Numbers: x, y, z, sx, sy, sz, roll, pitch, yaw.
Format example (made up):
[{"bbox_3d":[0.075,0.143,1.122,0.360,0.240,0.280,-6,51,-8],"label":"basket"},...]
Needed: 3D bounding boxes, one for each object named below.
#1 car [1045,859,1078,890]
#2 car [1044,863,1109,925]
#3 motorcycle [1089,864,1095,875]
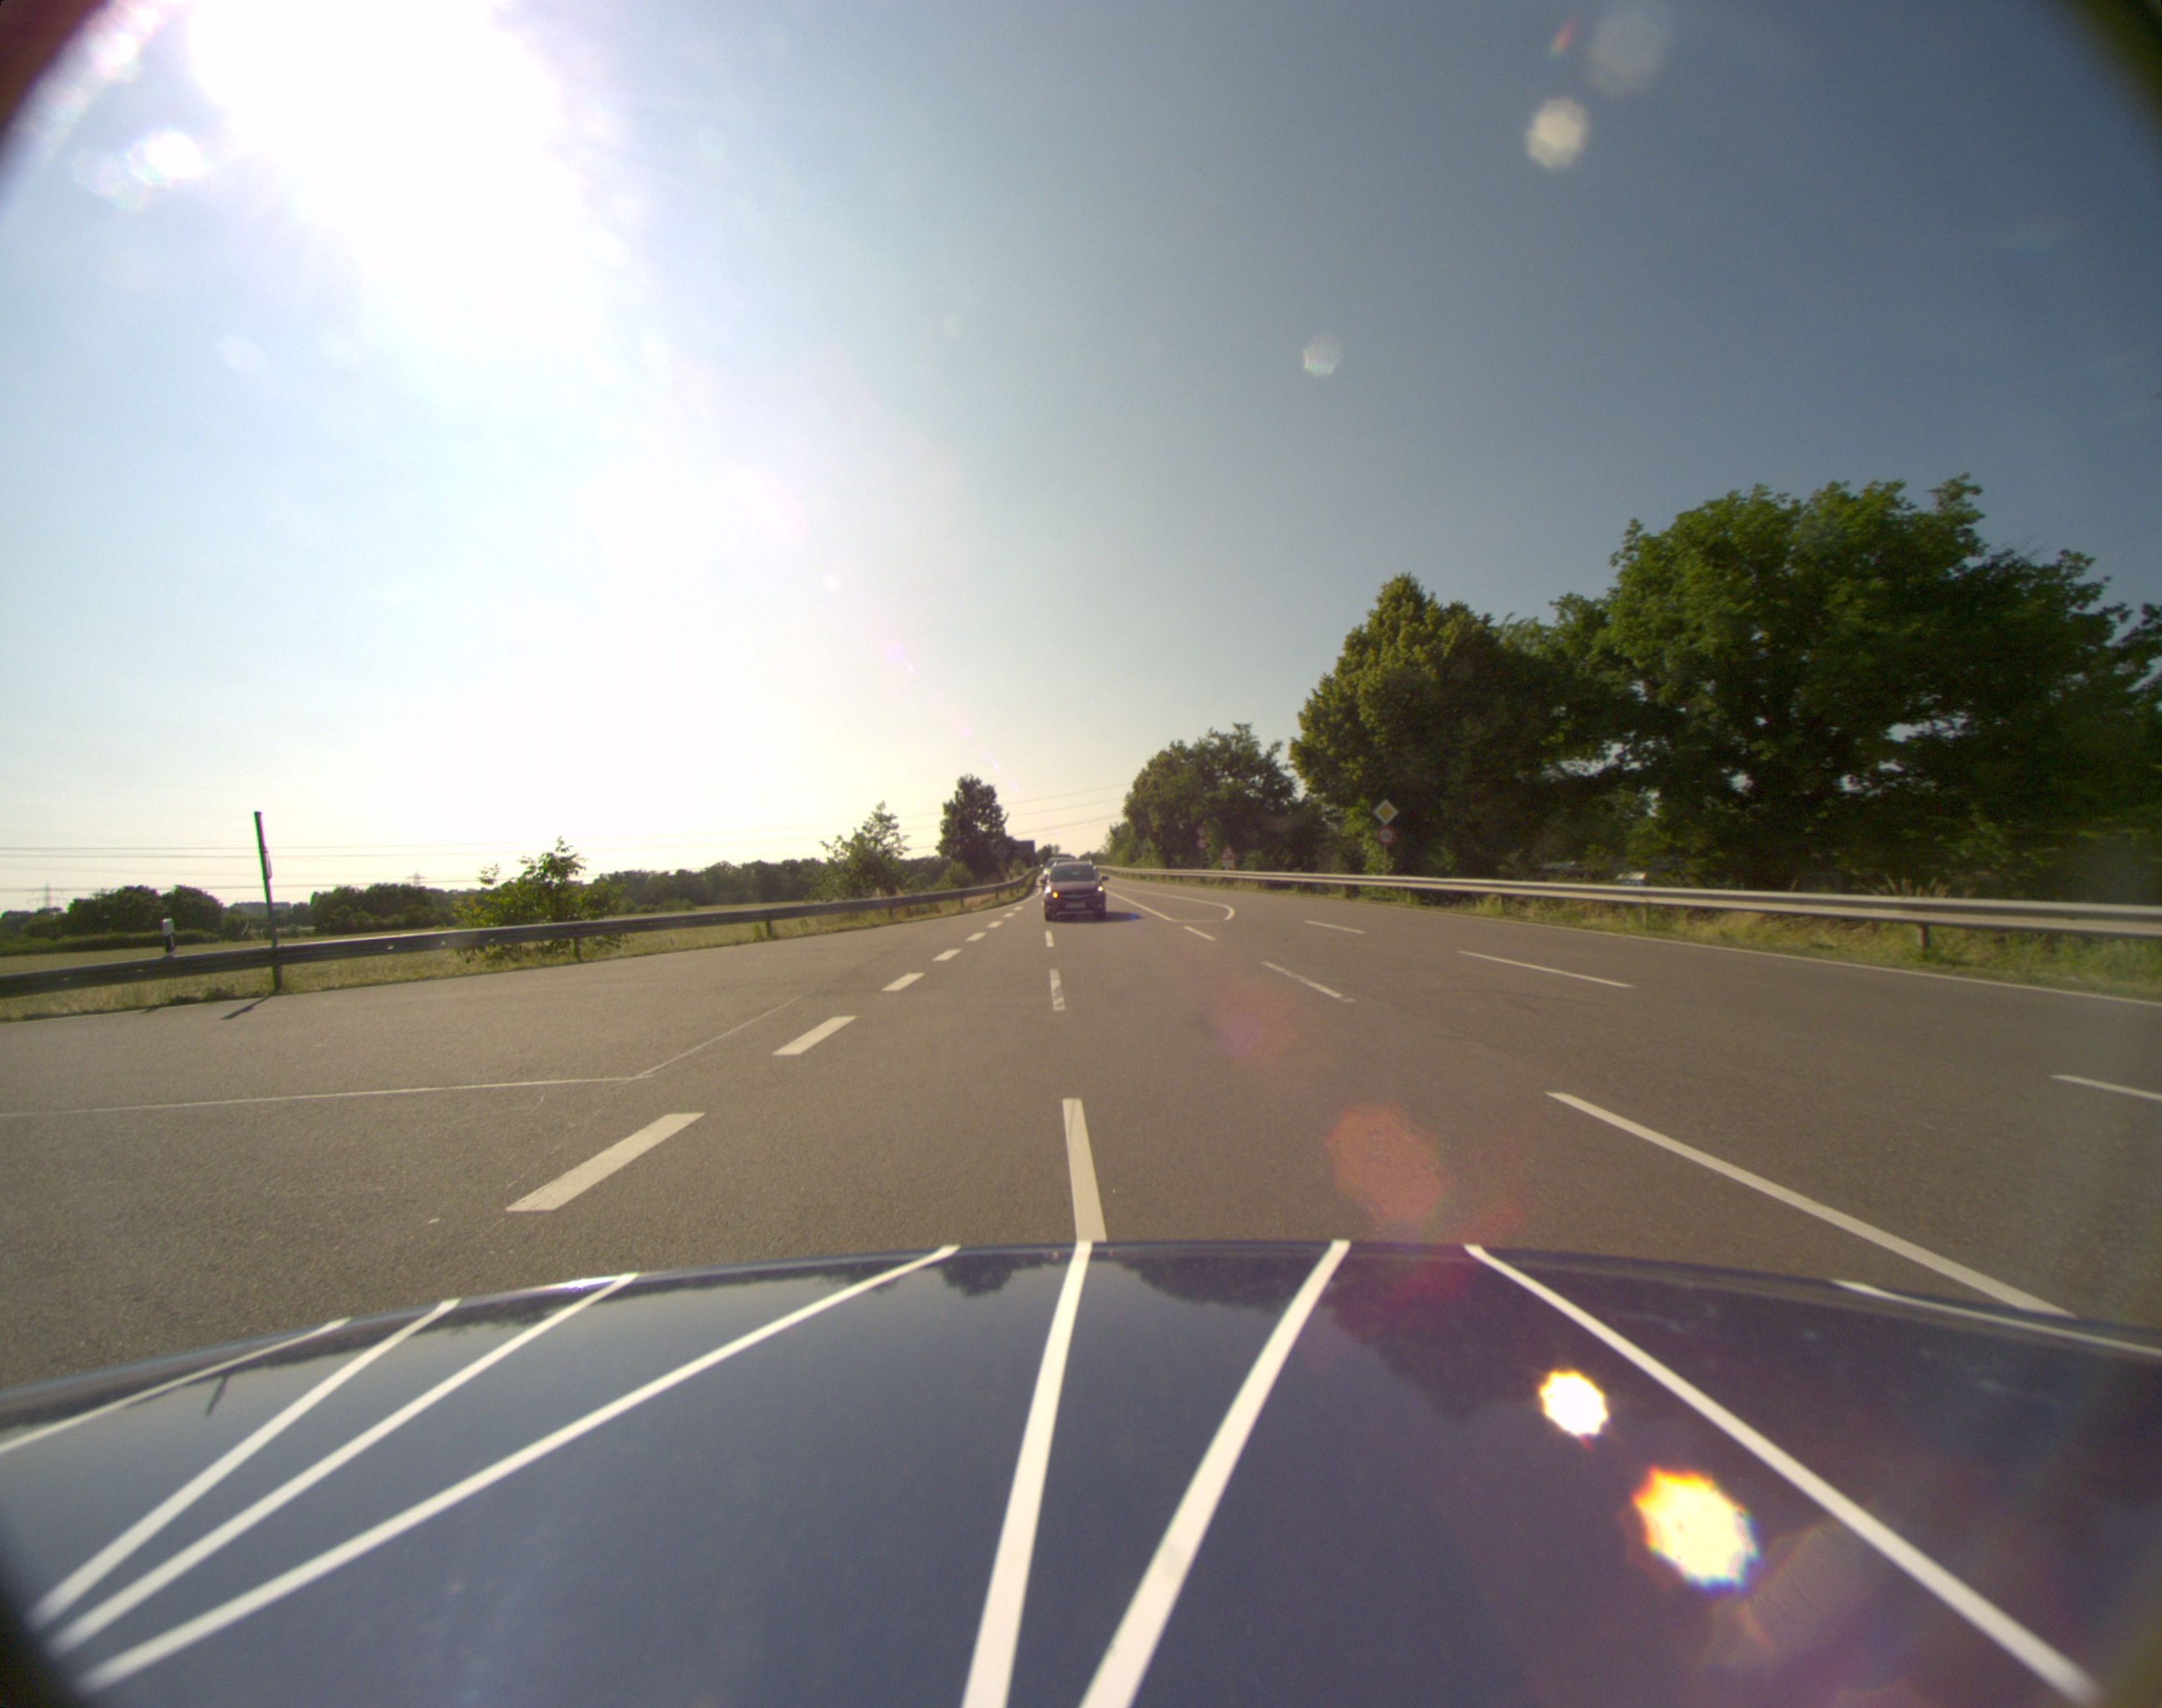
[{"bbox_3d":[-1.066,1.050,39.980,1.607,1.486,3.999,-1,0,-2],"label":"car"},{"bbox_3d":[-0.057,1.024,21.107,1.606,1.486,4.000,-1,0,1],"label":"car"},{"bbox_3d":[1.319,1.856,91.950,0.719,1.300,2.181,-1,0,1],"label":"motorcycle"}]
